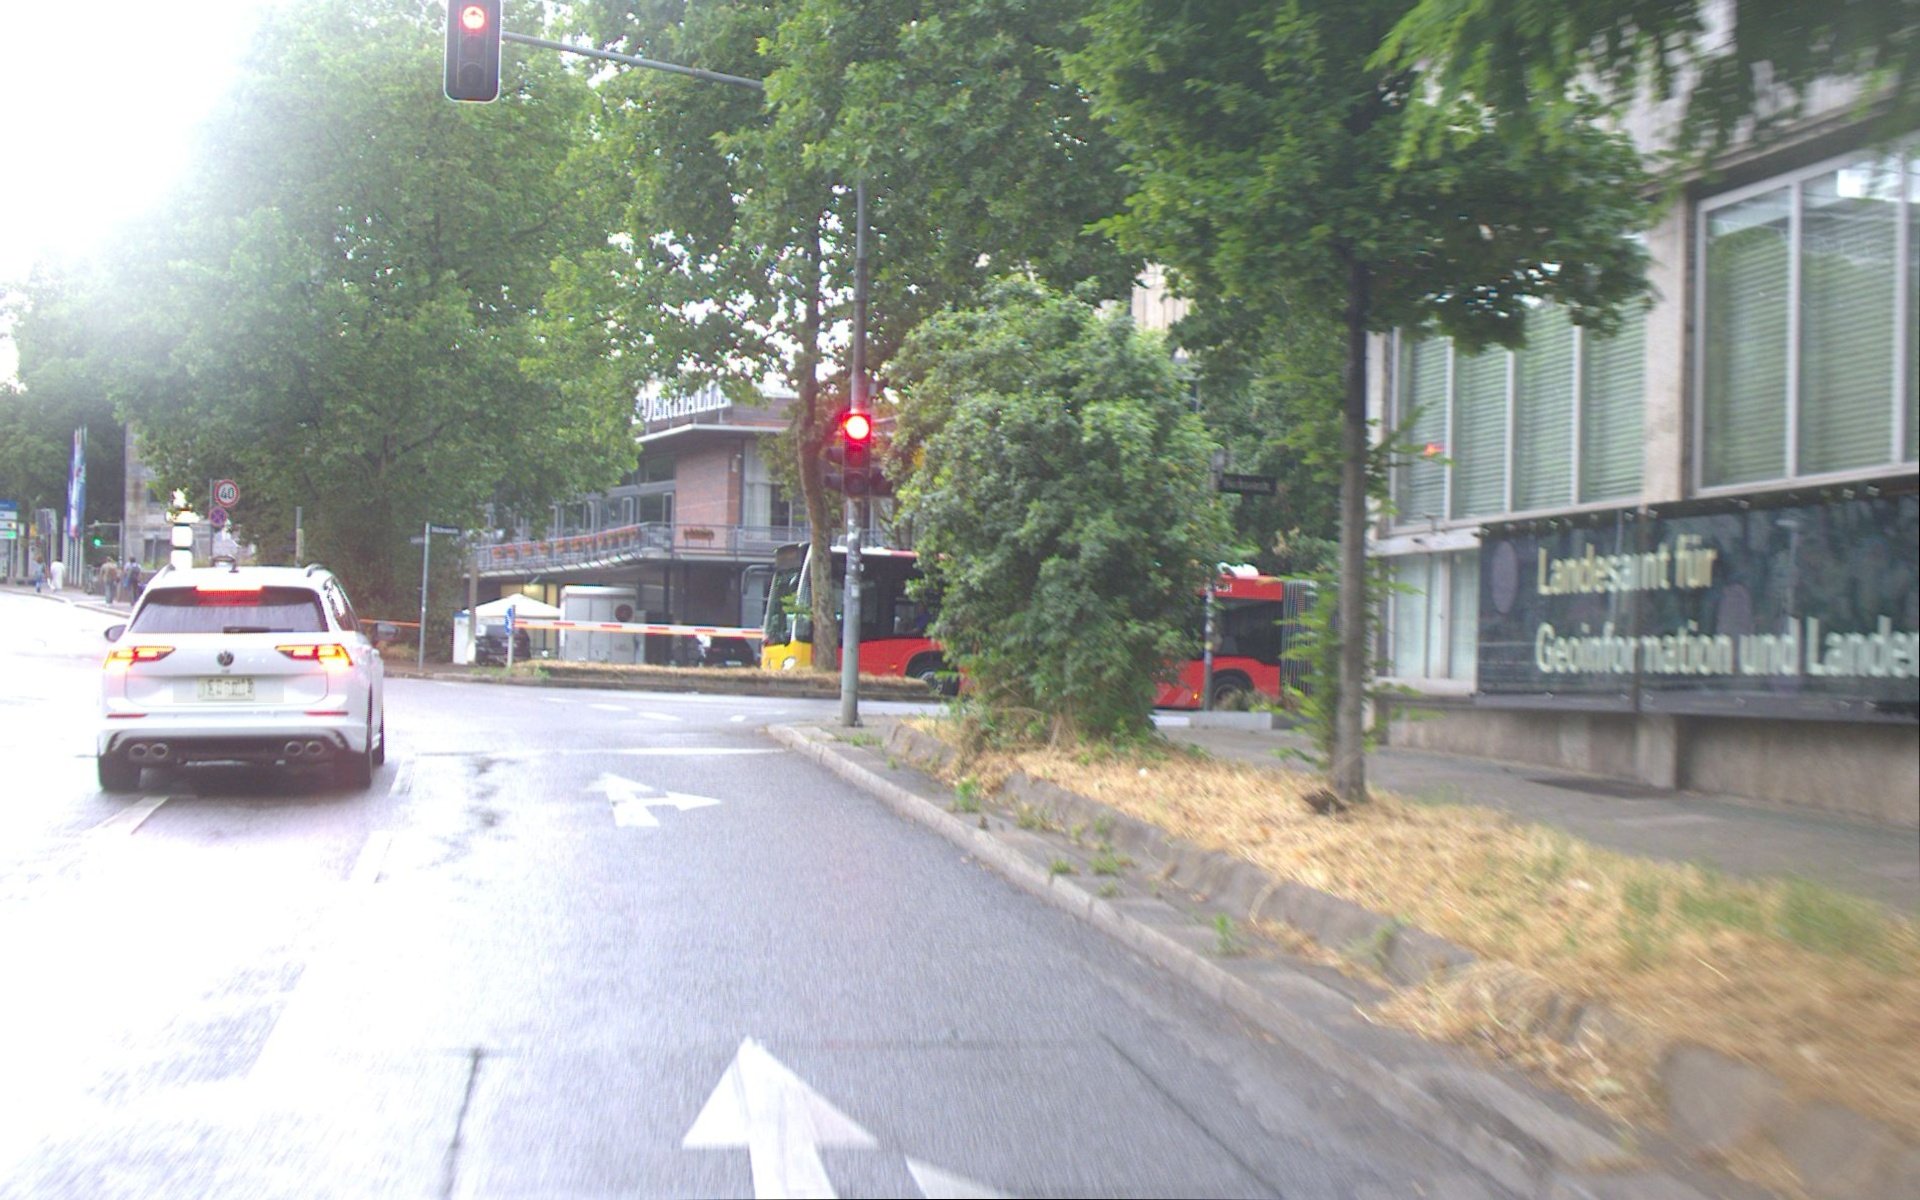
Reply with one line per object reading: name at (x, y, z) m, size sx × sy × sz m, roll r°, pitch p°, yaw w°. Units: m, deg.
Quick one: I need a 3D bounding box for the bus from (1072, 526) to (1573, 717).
bus at (7.025, 0.444, 66.645) m, size 9.151 × 3.100 × 2.664 m, roll 4°, pitch -1°, yaw -15°

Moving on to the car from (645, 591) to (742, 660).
car at (-8.420, 0.787, 108.256) m, size 1.993 × 2.007 × 4.001 m, roll 4°, pitch -1°, yaw -19°

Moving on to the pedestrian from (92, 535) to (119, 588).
pedestrian at (-30.012, -1.359, 120.731) m, size 0.756 × 1.817 × 0.701 m, roll 4°, pitch -1°, yaw -20°

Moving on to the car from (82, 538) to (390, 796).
car at (-4.848, 0.386, 23.492) m, size 1.678 × 1.571 × 4.254 m, roll 1°, pitch 1°, yaw -7°

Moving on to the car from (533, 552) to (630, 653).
car at (-12.576, 0.086, 113.941) m, size 2.544 × 3.123 × 5.032 m, roll 4°, pitch -1°, yaw -12°

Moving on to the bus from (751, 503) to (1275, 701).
bus at (1.002, 0.069, 65.044) m, size 9.421 × 3.100 × 2.559 m, roll 4°, pitch -1°, yaw -15°

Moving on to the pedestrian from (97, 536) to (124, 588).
pedestrian at (-30.143, -1.349, 122.027) m, size 0.756 × 1.817 × 0.701 m, roll 4°, pitch -1°, yaw -20°
